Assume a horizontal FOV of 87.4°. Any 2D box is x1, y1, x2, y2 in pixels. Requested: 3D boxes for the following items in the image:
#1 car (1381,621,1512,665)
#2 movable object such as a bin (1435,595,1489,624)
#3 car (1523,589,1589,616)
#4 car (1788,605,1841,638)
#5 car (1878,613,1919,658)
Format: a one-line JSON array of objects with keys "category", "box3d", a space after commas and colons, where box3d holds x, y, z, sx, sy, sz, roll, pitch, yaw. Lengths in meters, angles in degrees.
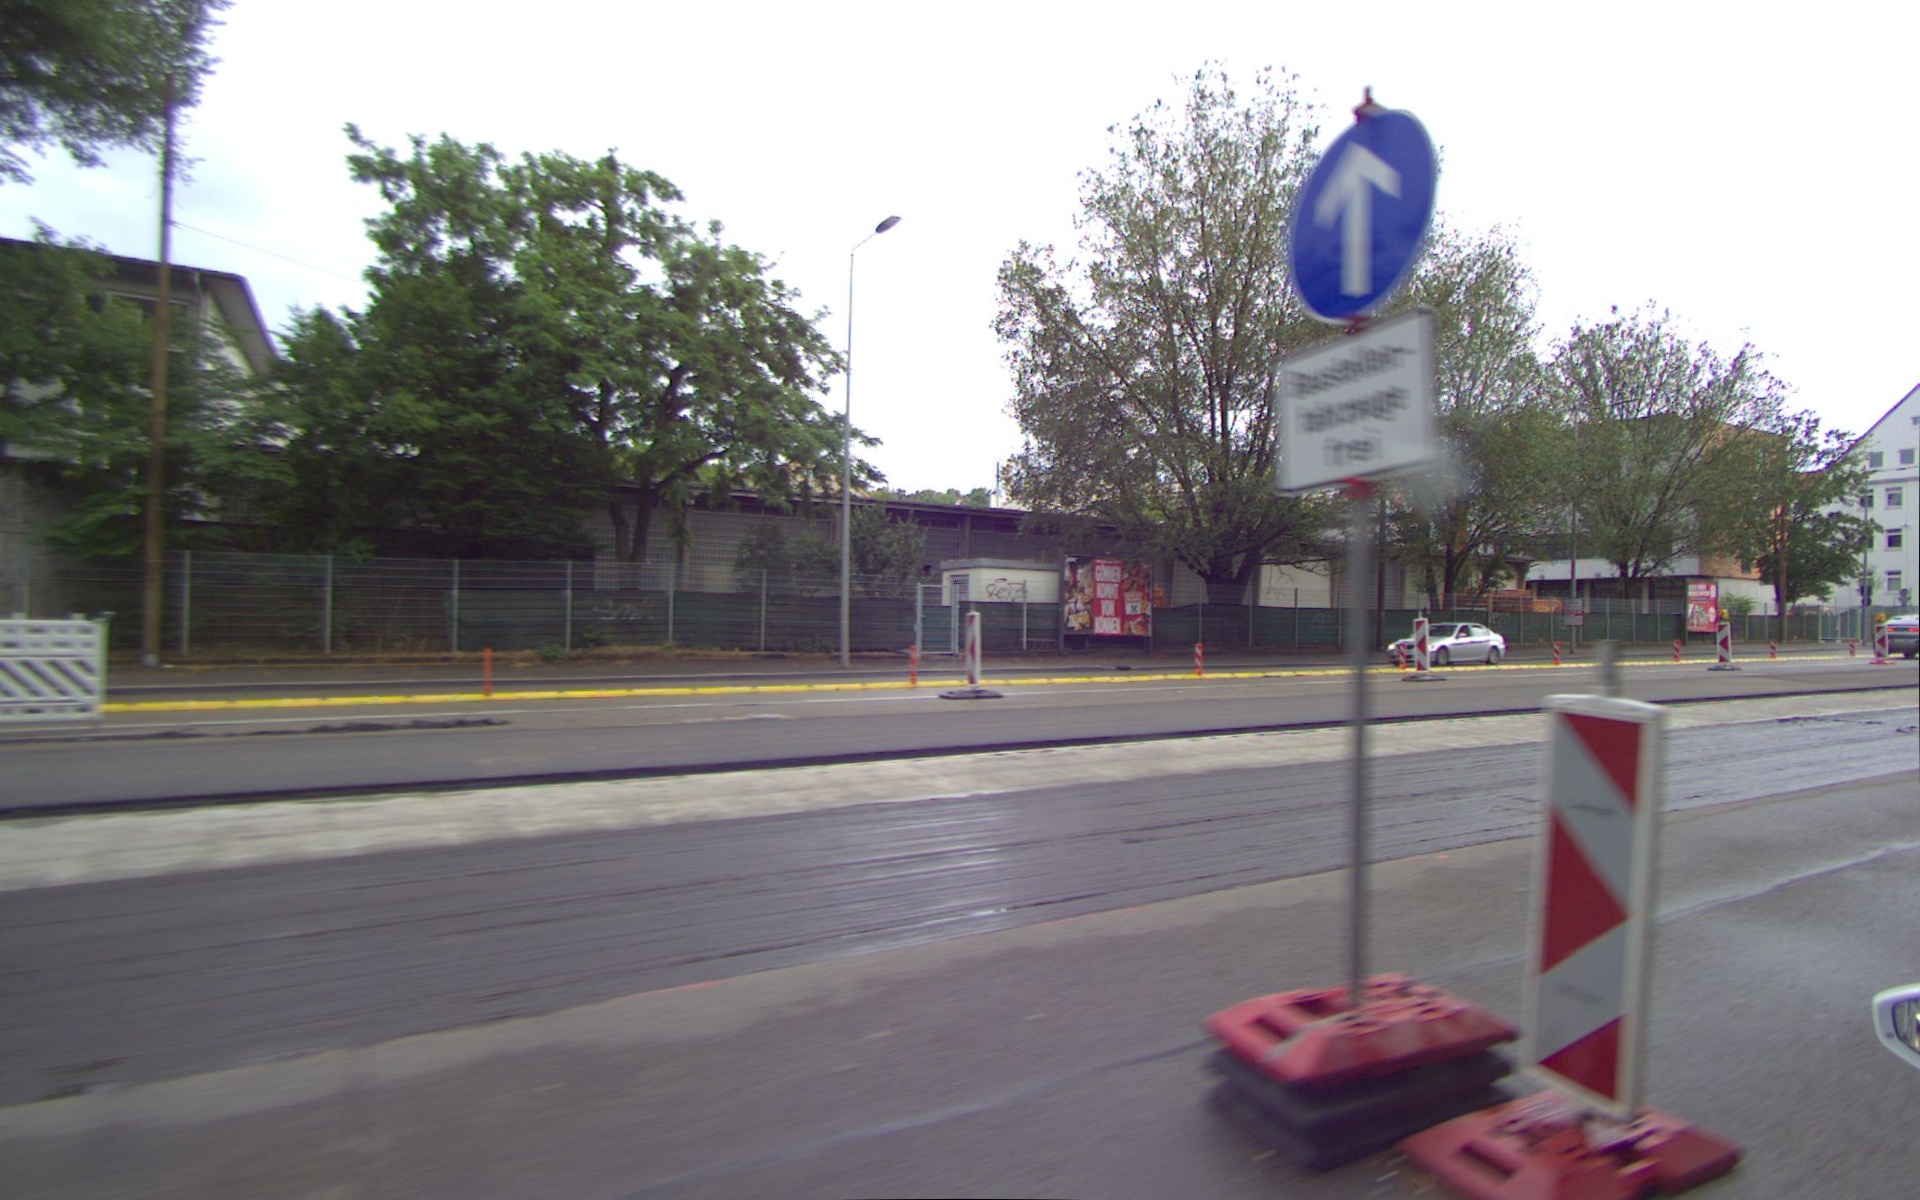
[{"category": "car", "box3d": [15.878, 1.403, 32.731, 4.402, 1.332, 1.659, 1, -3, -30]}, {"category": "movable object such as a bin", "box3d": [27.460, 0.537, 55.036, 1.718, 1.548, 4.026, 0, -1, 13]}, {"category": "car", "box3d": [35.495, 0.167, 59.940, 1.959, 1.548, 4.026, 0, -1, 8]}, {"category": "car", "box3d": [57.627, 1.444, 67.690, 3.955, 2.199, 1.601, 1, -1, -32]}, {"category": "car", "box3d": [37.301, 1.371, 38.515, 4.344, 1.672, 1.884, 1, -1, -30]}]
